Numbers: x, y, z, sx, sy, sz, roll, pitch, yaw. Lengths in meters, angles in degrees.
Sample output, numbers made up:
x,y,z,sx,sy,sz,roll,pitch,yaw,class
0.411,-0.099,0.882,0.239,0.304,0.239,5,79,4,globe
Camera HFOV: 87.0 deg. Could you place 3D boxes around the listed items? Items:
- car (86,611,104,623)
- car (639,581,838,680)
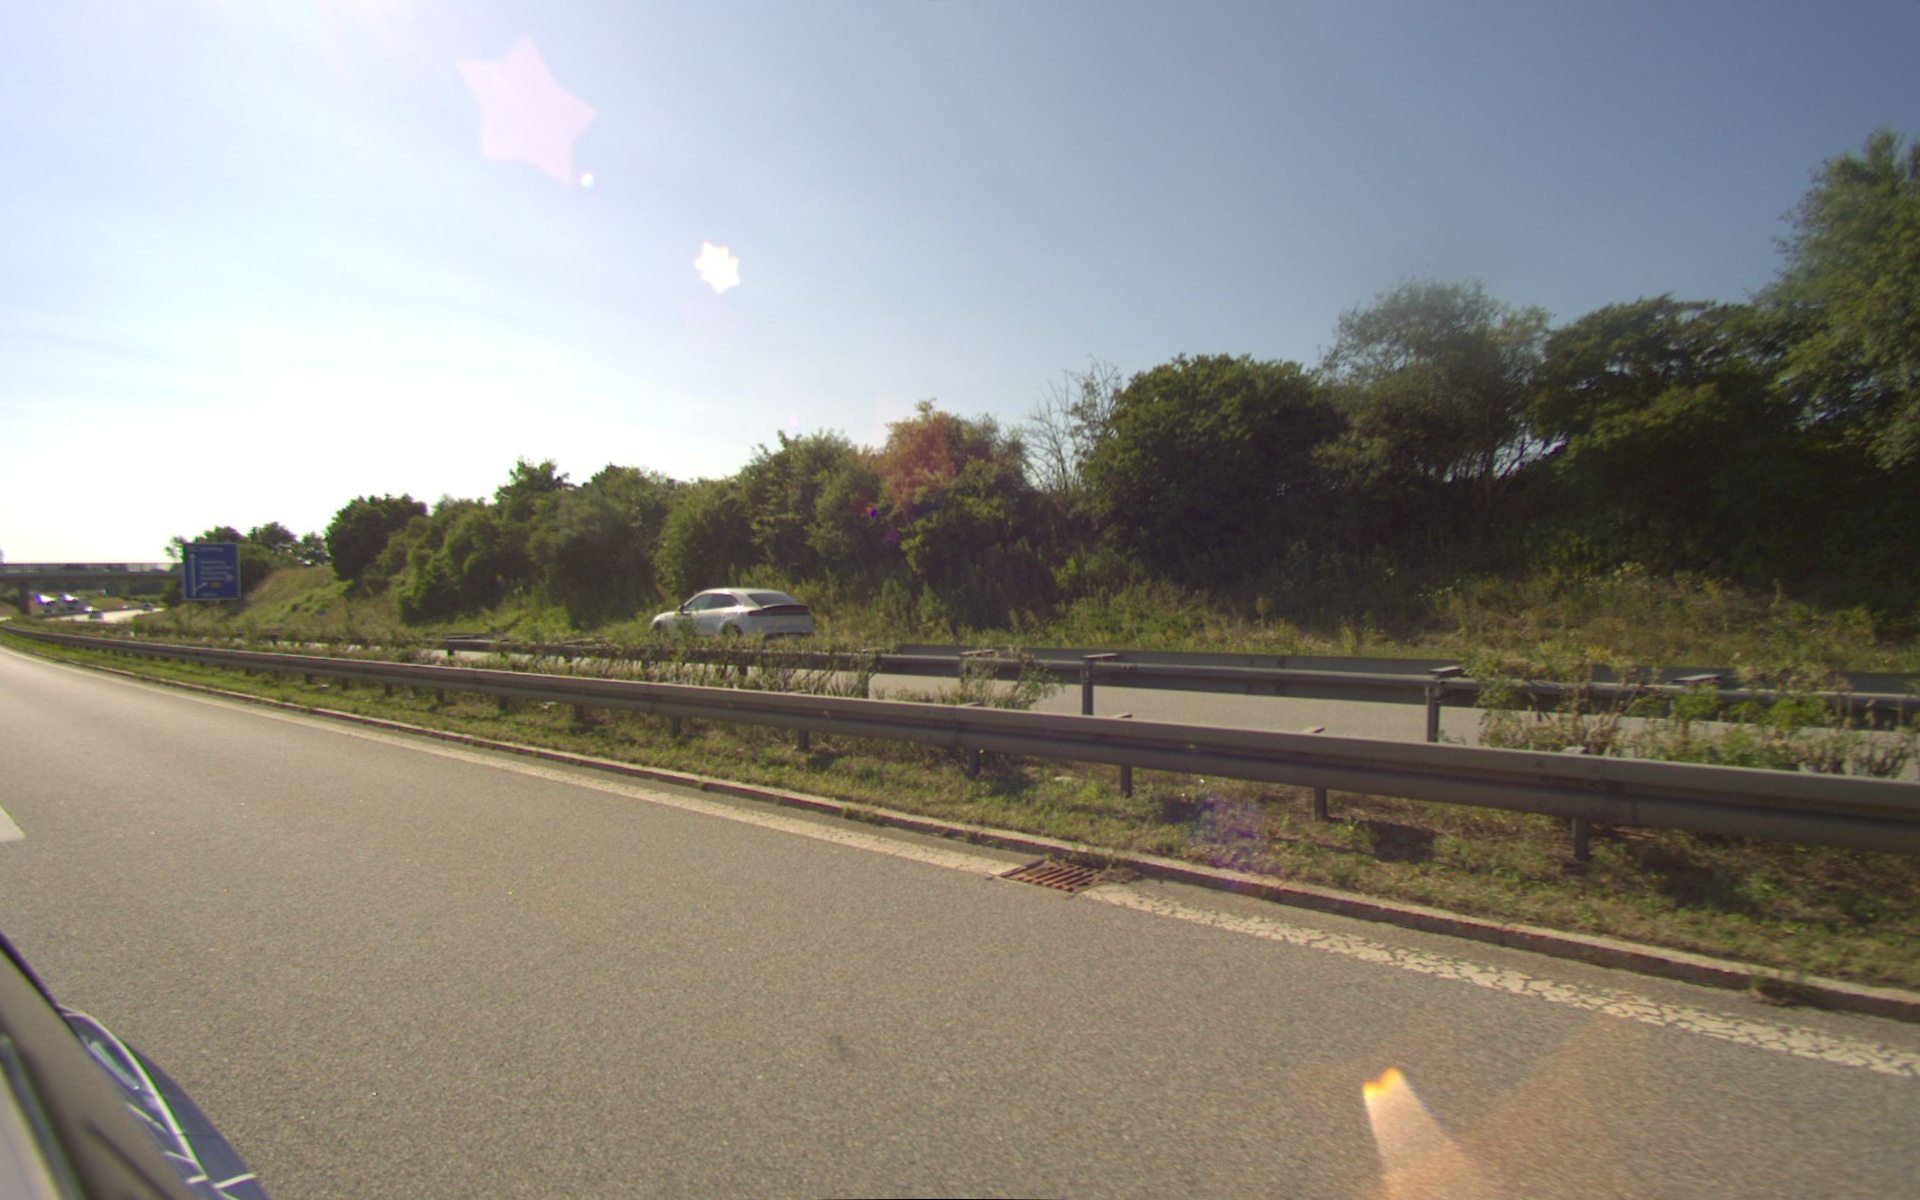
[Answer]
x,y,z,sx,sy,sz,roll,pitch,yaw,class
-127.914,2.502,149.590,1.835,1.610,4.004,0,0,-43,car
-5.146,0.649,23.105,4.854,2.029,1.972,-1,0,42,car
